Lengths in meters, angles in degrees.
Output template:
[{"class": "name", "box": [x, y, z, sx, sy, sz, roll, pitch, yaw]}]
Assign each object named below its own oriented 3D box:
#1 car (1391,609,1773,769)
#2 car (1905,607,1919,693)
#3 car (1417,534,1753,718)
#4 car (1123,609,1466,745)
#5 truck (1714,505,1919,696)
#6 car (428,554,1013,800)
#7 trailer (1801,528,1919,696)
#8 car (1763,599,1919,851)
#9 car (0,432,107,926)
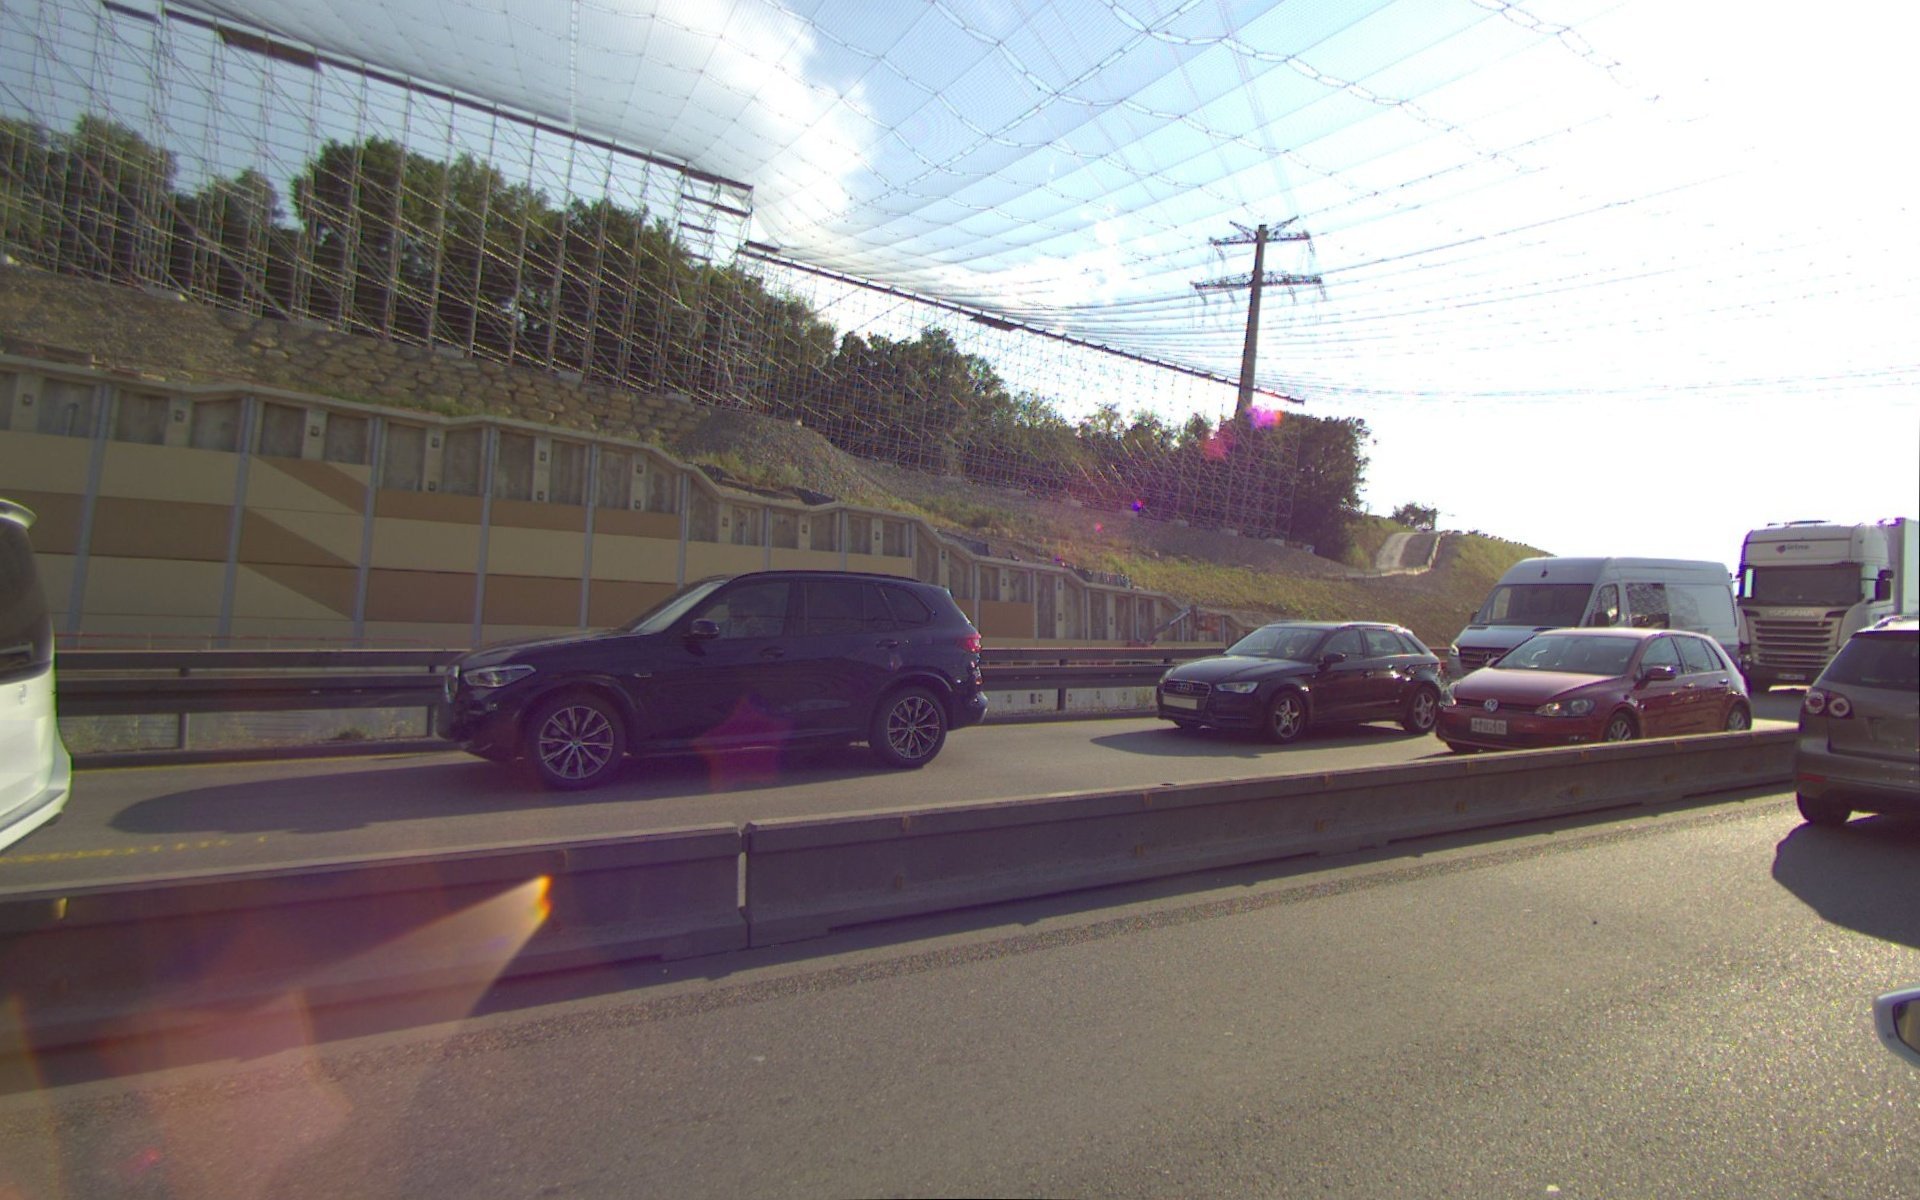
[{"class": "car", "box": [7.001, 0.891, 11.180, 4.467, 1.438, 1.799, 2, 0, -32]}, {"class": "car", "box": [19.871, 0.989, 19.141, 4.321, 1.589, 1.797, 2, 0, -34]}, {"class": "car", "box": [11.243, 0.477, 17.806, 7.005, 2.749, 2.229, 2, 0, -33]}, {"class": "car", "box": [4.356, 0.914, 12.908, 4.330, 1.456, 1.783, 2, 0, -31]}, {"class": "truck", "box": [21.051, 0.095, 23.942, 7.129, 3.962, 2.615, 2, 0, -34]}, {"class": "car", "box": [-2.053, 0.610, 9.198, 4.881, 1.750, 1.814, 2, 0, -31]}, {"class": "trailer", "box": [28.188, 0.463, 28.871, 13.197, 4.069, 2.653, 2, 0, -34]}, {"class": "car", "box": [7.927, 0.870, 7.445, 3.951, 1.617, 1.684, 2, 0, -29]}, {"class": "car", "box": [-6.244, 0.236, 3.091, 5.221, 1.894, 1.799, 2, 0, -31]}]
